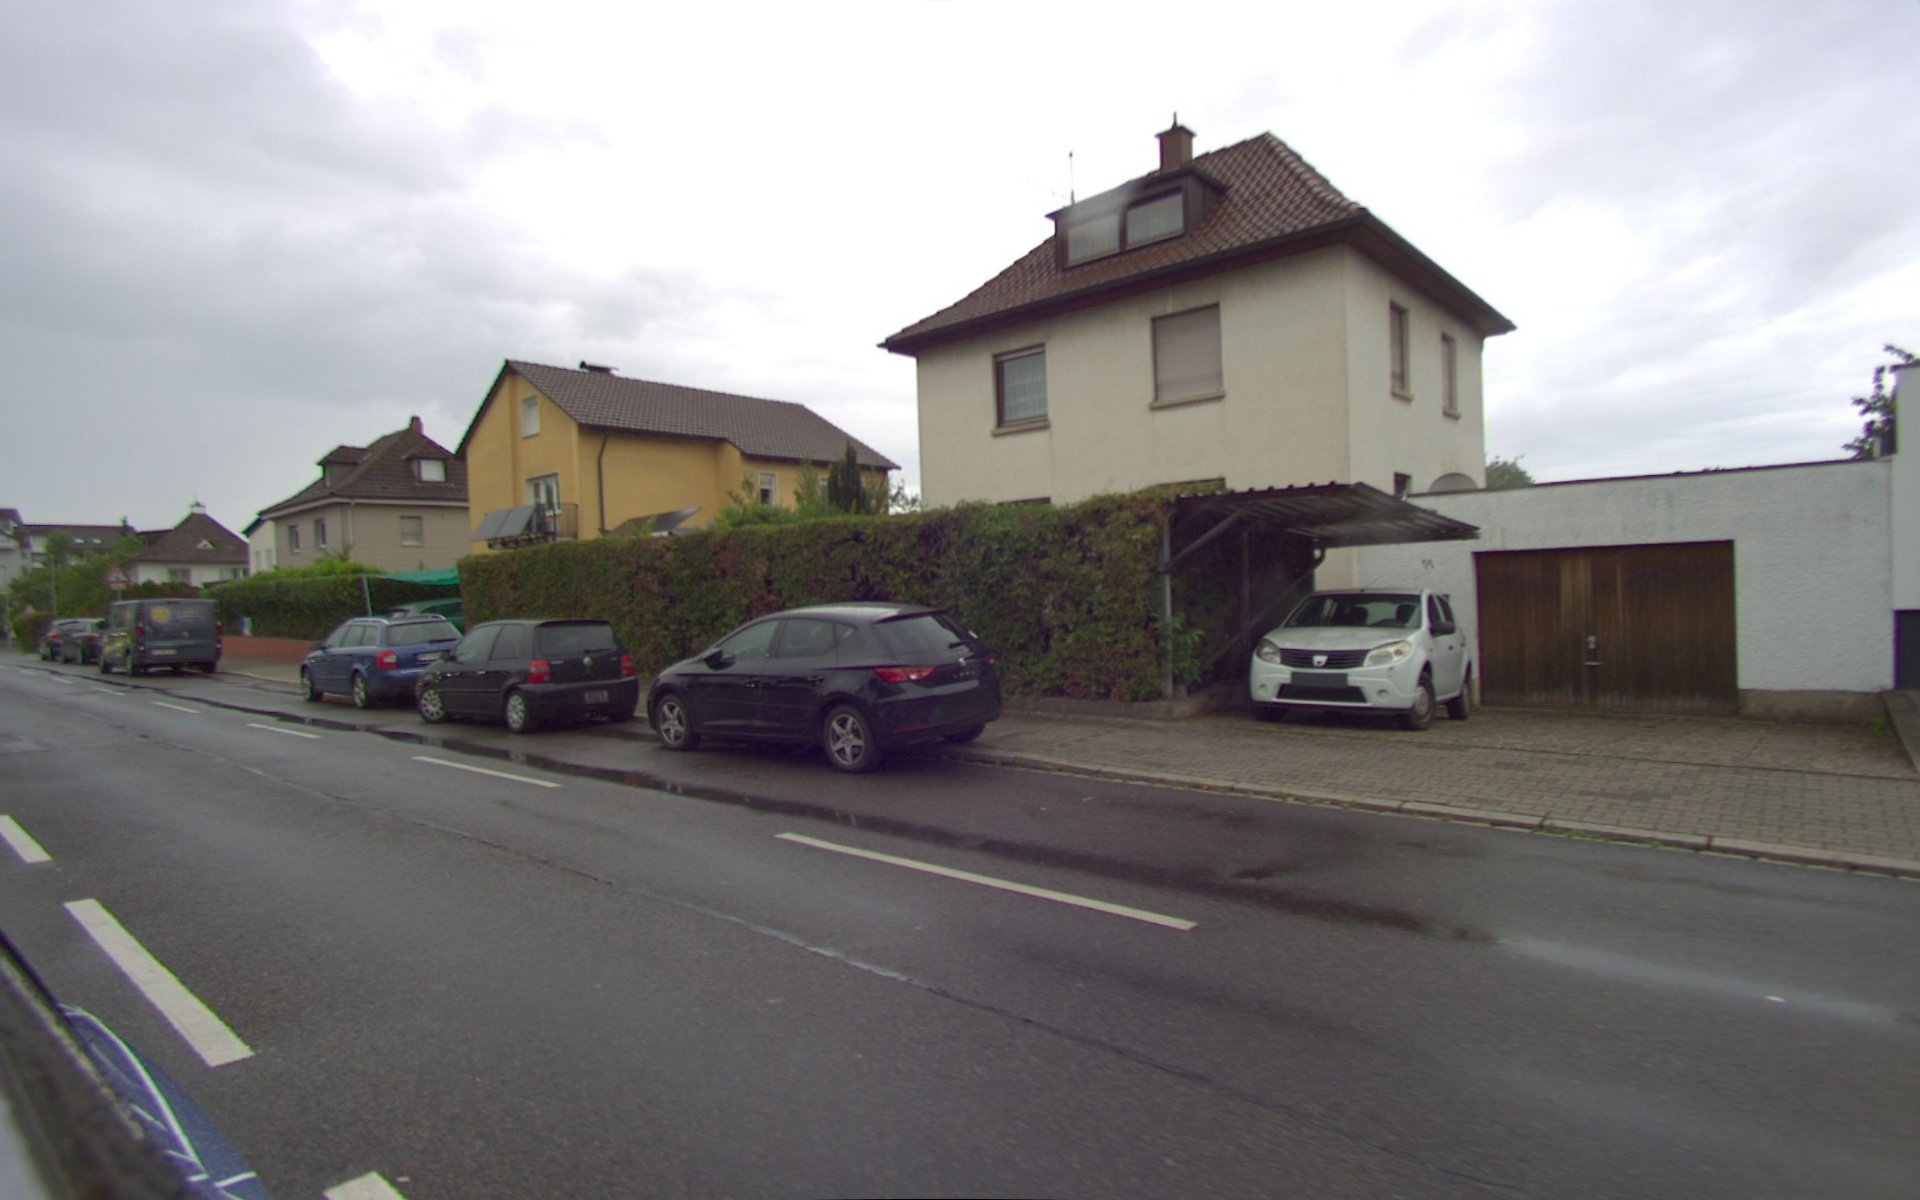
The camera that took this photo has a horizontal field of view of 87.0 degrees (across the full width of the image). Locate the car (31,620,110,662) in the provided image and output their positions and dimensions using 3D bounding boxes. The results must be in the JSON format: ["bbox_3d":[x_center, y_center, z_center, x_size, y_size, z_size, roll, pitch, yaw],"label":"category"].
[{"bbox_3d":[-33.892,1.530,38.528,4.128,1.450,1.732,-1,0,41],"label":"car"}]

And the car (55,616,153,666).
[{"bbox_3d":[-29.160,1.356,34.438,4.523,1.528,1.733,-1,0,39],"label":"car"}]

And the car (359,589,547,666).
[{"bbox_3d":[-13.240,0.662,26.575,1.918,1.625,3.919,-1,3,42],"label":"car"}]

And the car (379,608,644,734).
[{"bbox_3d":[-6.160,0.875,13.724,4.008,1.442,1.537,-1,0,37],"label":"car"}]

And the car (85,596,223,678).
[{"bbox_3d":[-21.928,0.948,27.458,5.082,2.018,1.894,-1,0,39],"label":"car"}]

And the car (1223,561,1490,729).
[{"bbox_3d":[4.574,0.520,11.337,1.852,1.527,3.951,-1,-4,36],"label":"car"}]

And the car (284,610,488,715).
[{"bbox_3d":[-9.995,0.988,17.480,4.284,1.544,1.739,-1,0,41],"label":"car"}]

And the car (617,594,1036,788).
[{"bbox_3d":[-1.475,0.768,10.212,4.203,1.544,1.740,-1,0,38],"label":"car"}]
